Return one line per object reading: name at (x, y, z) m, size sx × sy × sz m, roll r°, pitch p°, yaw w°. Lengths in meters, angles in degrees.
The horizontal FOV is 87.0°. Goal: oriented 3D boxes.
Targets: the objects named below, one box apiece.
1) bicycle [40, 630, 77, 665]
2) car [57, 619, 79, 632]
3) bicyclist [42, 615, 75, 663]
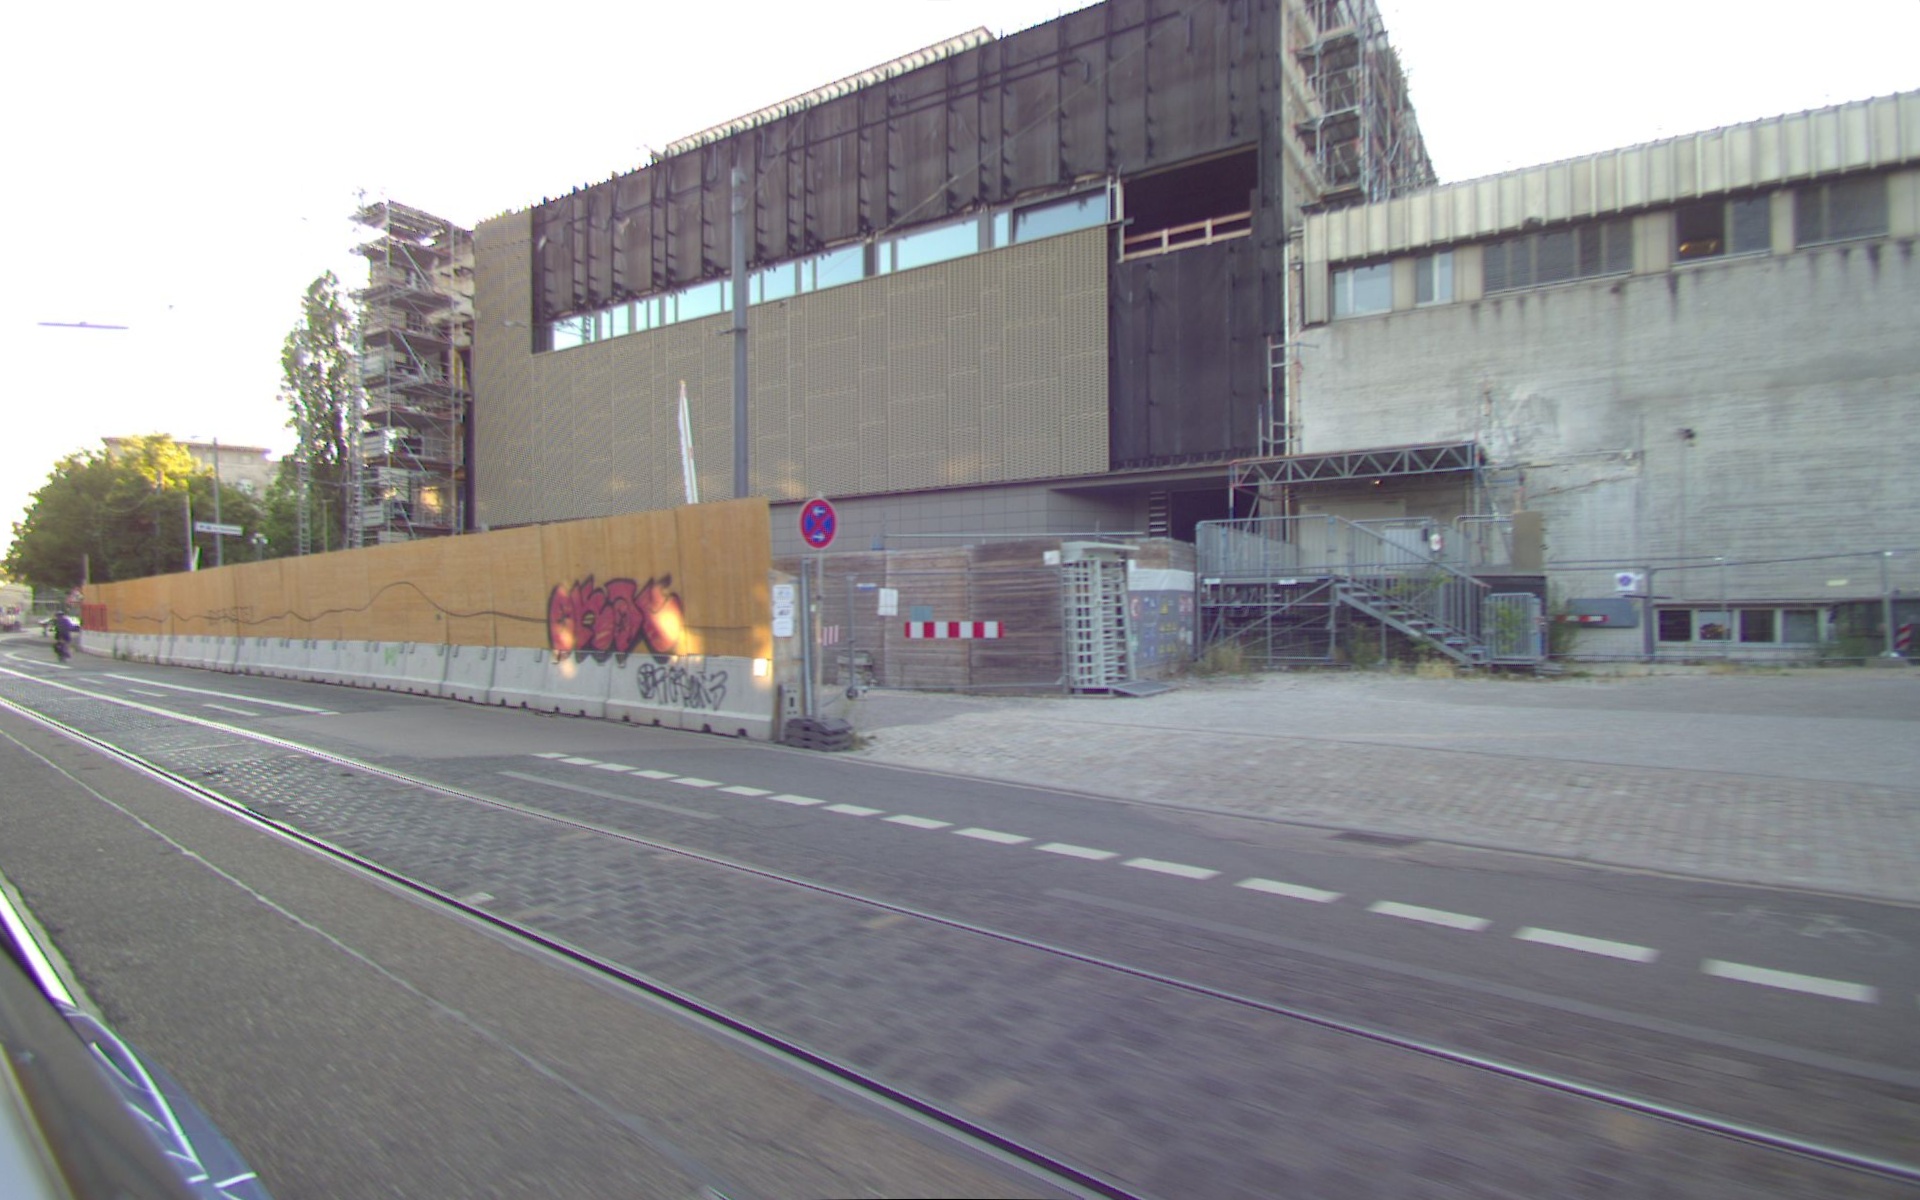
bicycle at (-32.707, 1.706, 36.702) m, size 1.935 × 1.237 × 0.760 m, roll -2°, pitch -2°, yaw 41°
car at (-119.074, 3.377, 135.113) m, size 1.968 × 1.696 × 4.007 m, roll -1°, pitch 0°, yaw -39°
bicyclist at (-32.687, 1.408, 36.688) m, size 1.017 × 1.678 × 0.760 m, roll -2°, pitch -2°, yaw 41°
